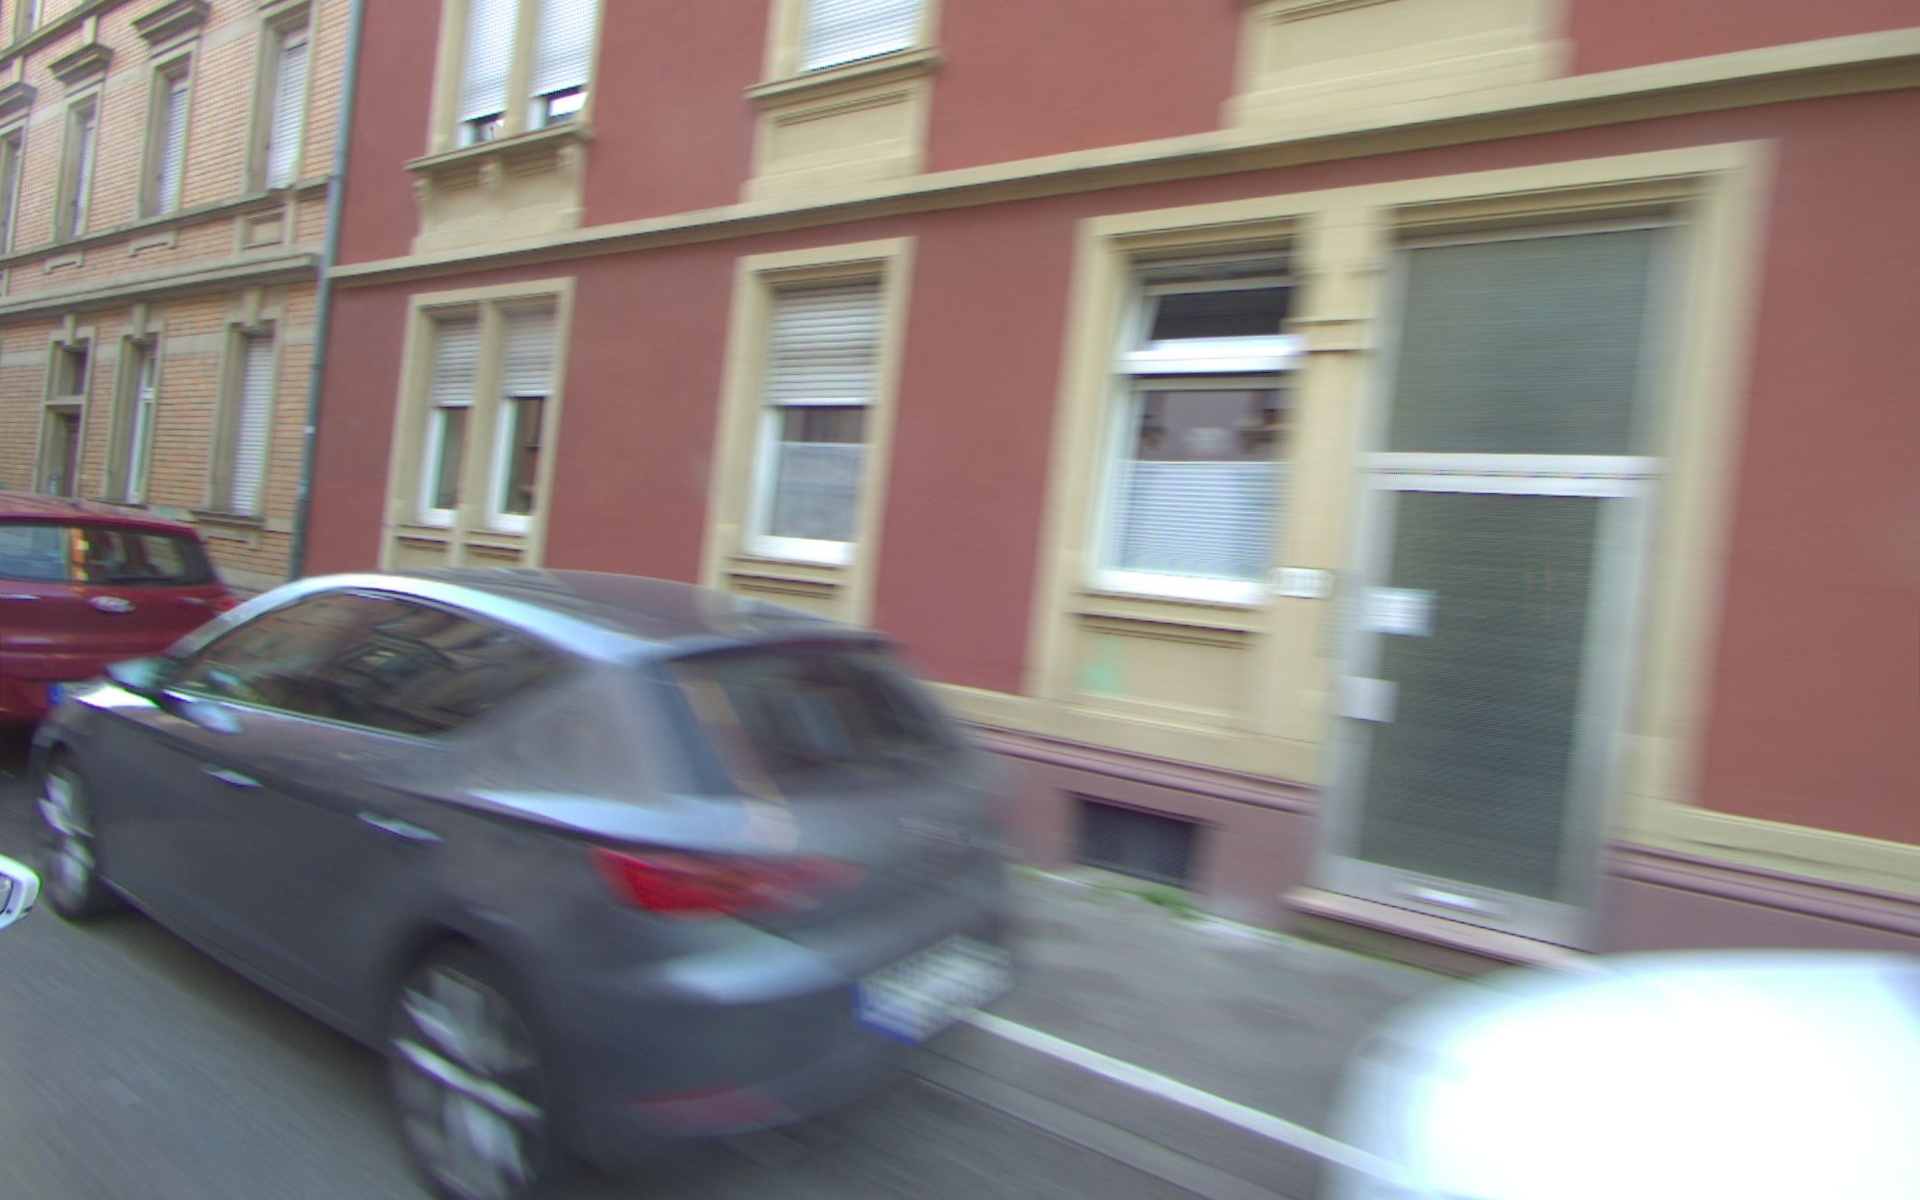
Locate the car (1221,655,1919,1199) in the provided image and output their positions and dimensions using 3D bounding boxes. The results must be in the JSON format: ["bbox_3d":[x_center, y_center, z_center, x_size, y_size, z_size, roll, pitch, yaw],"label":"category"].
[{"bbox_3d":[2.416,1.054,0.999,3.904,1.480,1.707,6,-1,32],"label":"car"}]

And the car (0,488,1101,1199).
[{"bbox_3d":[-1.748,0.575,3.602,4.002,1.521,1.679,7,0,32],"label":"car"}]

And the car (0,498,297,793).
[{"bbox_3d":[-6.312,0.081,6.509,3.956,1.498,1.662,7,0,30],"label":"car"}]
